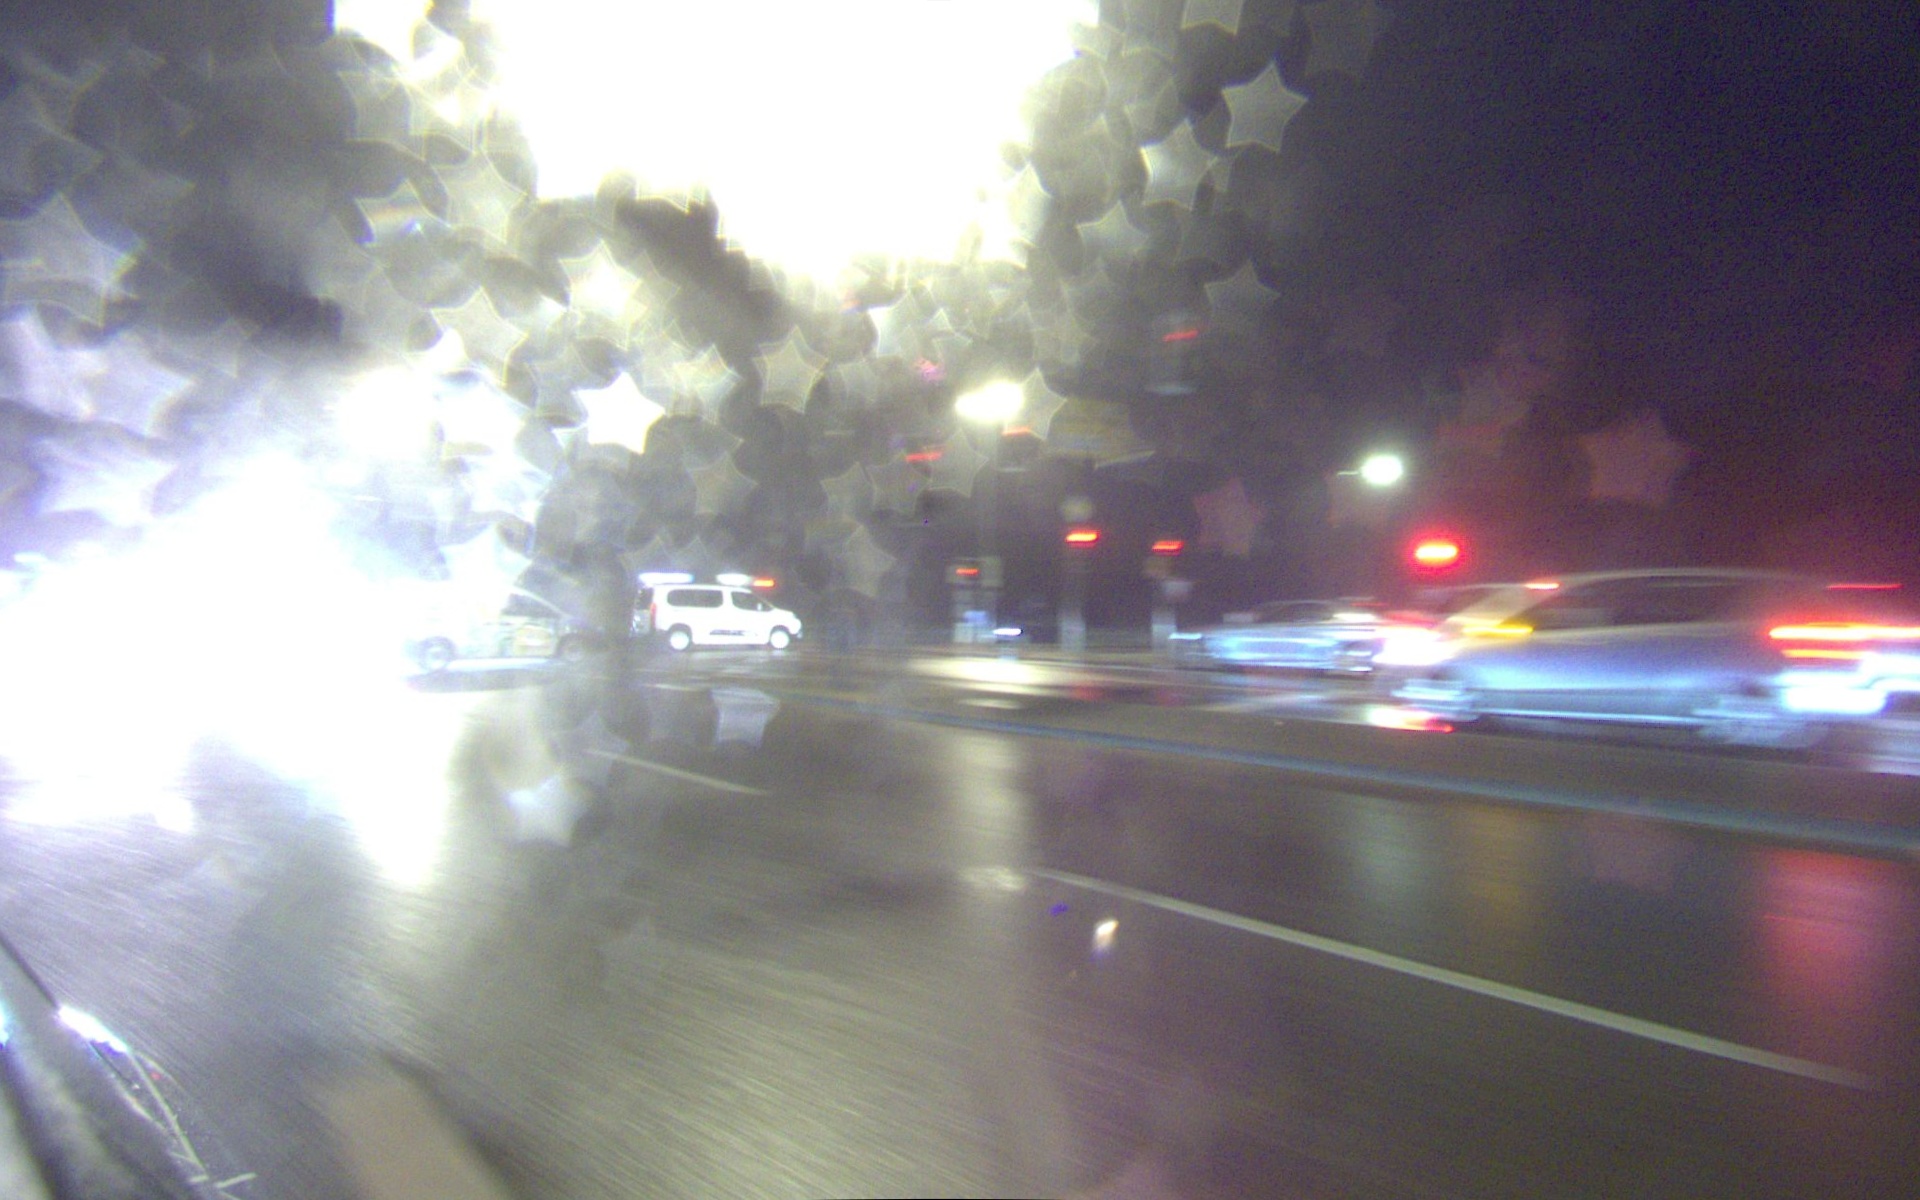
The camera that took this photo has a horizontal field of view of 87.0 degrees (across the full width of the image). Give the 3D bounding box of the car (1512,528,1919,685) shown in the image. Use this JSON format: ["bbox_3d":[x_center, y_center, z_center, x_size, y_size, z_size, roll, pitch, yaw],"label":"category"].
[{"bbox_3d":[8.785,0.027,11.502,1.690,1.498,4.066,-1,1,-39],"label":"car"}]

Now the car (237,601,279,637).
[{"bbox_3d":[-40.811,1.078,58.817,1.686,1.952,3.616,-1,2,-40],"label":"car"}]

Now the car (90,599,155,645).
[{"bbox_3d":[-33.773,0.849,40.854,1.928,1.645,4.267,-1,2,-40],"label":"car"}]

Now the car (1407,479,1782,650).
[{"bbox_3d":[11.654,-0.700,19.150,2.218,2.730,5.626,-3,3,-31],"label":"car"}]

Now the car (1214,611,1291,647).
[{"bbox_3d":[12.184,1.191,41.942,1.832,1.418,4.071,0,-2,35],"label":"car"}]

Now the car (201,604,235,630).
[{"bbox_3d":[-55.632,1.266,75.891,1.818,1.705,4.008,-4,4,-39],"label":"car"}]

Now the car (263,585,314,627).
[{"bbox_3d":[-34.791,0.254,52.370,1.766,2.039,4.154,-1,2,-40],"label":"car"}]

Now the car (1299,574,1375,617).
[{"bbox_3d":[20.166,-0.247,54.134,3.933,2.094,1.786,-3,2,-34],"label":"car"}]

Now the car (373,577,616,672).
[{"bbox_3d":[-9.884,0.442,21.629,4.482,1.844,1.788,-1,1,-34],"label":"car"}]

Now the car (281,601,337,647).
[{"bbox_3d":[-29.468,1.052,45.756,1.641,1.867,4.154,-1,2,-40],"label":"car"}]

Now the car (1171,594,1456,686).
[{"bbox_3d":[6.440,0.644,18.952,1.738,1.438,4.810,-1,1,-41],"label":"car"}]

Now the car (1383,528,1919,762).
[{"bbox_3d":[6.316,0.334,9.552,1.738,1.738,3.906,-1,0,-42],"label":"car"}]

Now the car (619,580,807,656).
[{"bbox_3d":[-6.854,0.427,28.317,4.644,1.806,2.005,-3,3,-36],"label":"car"}]
